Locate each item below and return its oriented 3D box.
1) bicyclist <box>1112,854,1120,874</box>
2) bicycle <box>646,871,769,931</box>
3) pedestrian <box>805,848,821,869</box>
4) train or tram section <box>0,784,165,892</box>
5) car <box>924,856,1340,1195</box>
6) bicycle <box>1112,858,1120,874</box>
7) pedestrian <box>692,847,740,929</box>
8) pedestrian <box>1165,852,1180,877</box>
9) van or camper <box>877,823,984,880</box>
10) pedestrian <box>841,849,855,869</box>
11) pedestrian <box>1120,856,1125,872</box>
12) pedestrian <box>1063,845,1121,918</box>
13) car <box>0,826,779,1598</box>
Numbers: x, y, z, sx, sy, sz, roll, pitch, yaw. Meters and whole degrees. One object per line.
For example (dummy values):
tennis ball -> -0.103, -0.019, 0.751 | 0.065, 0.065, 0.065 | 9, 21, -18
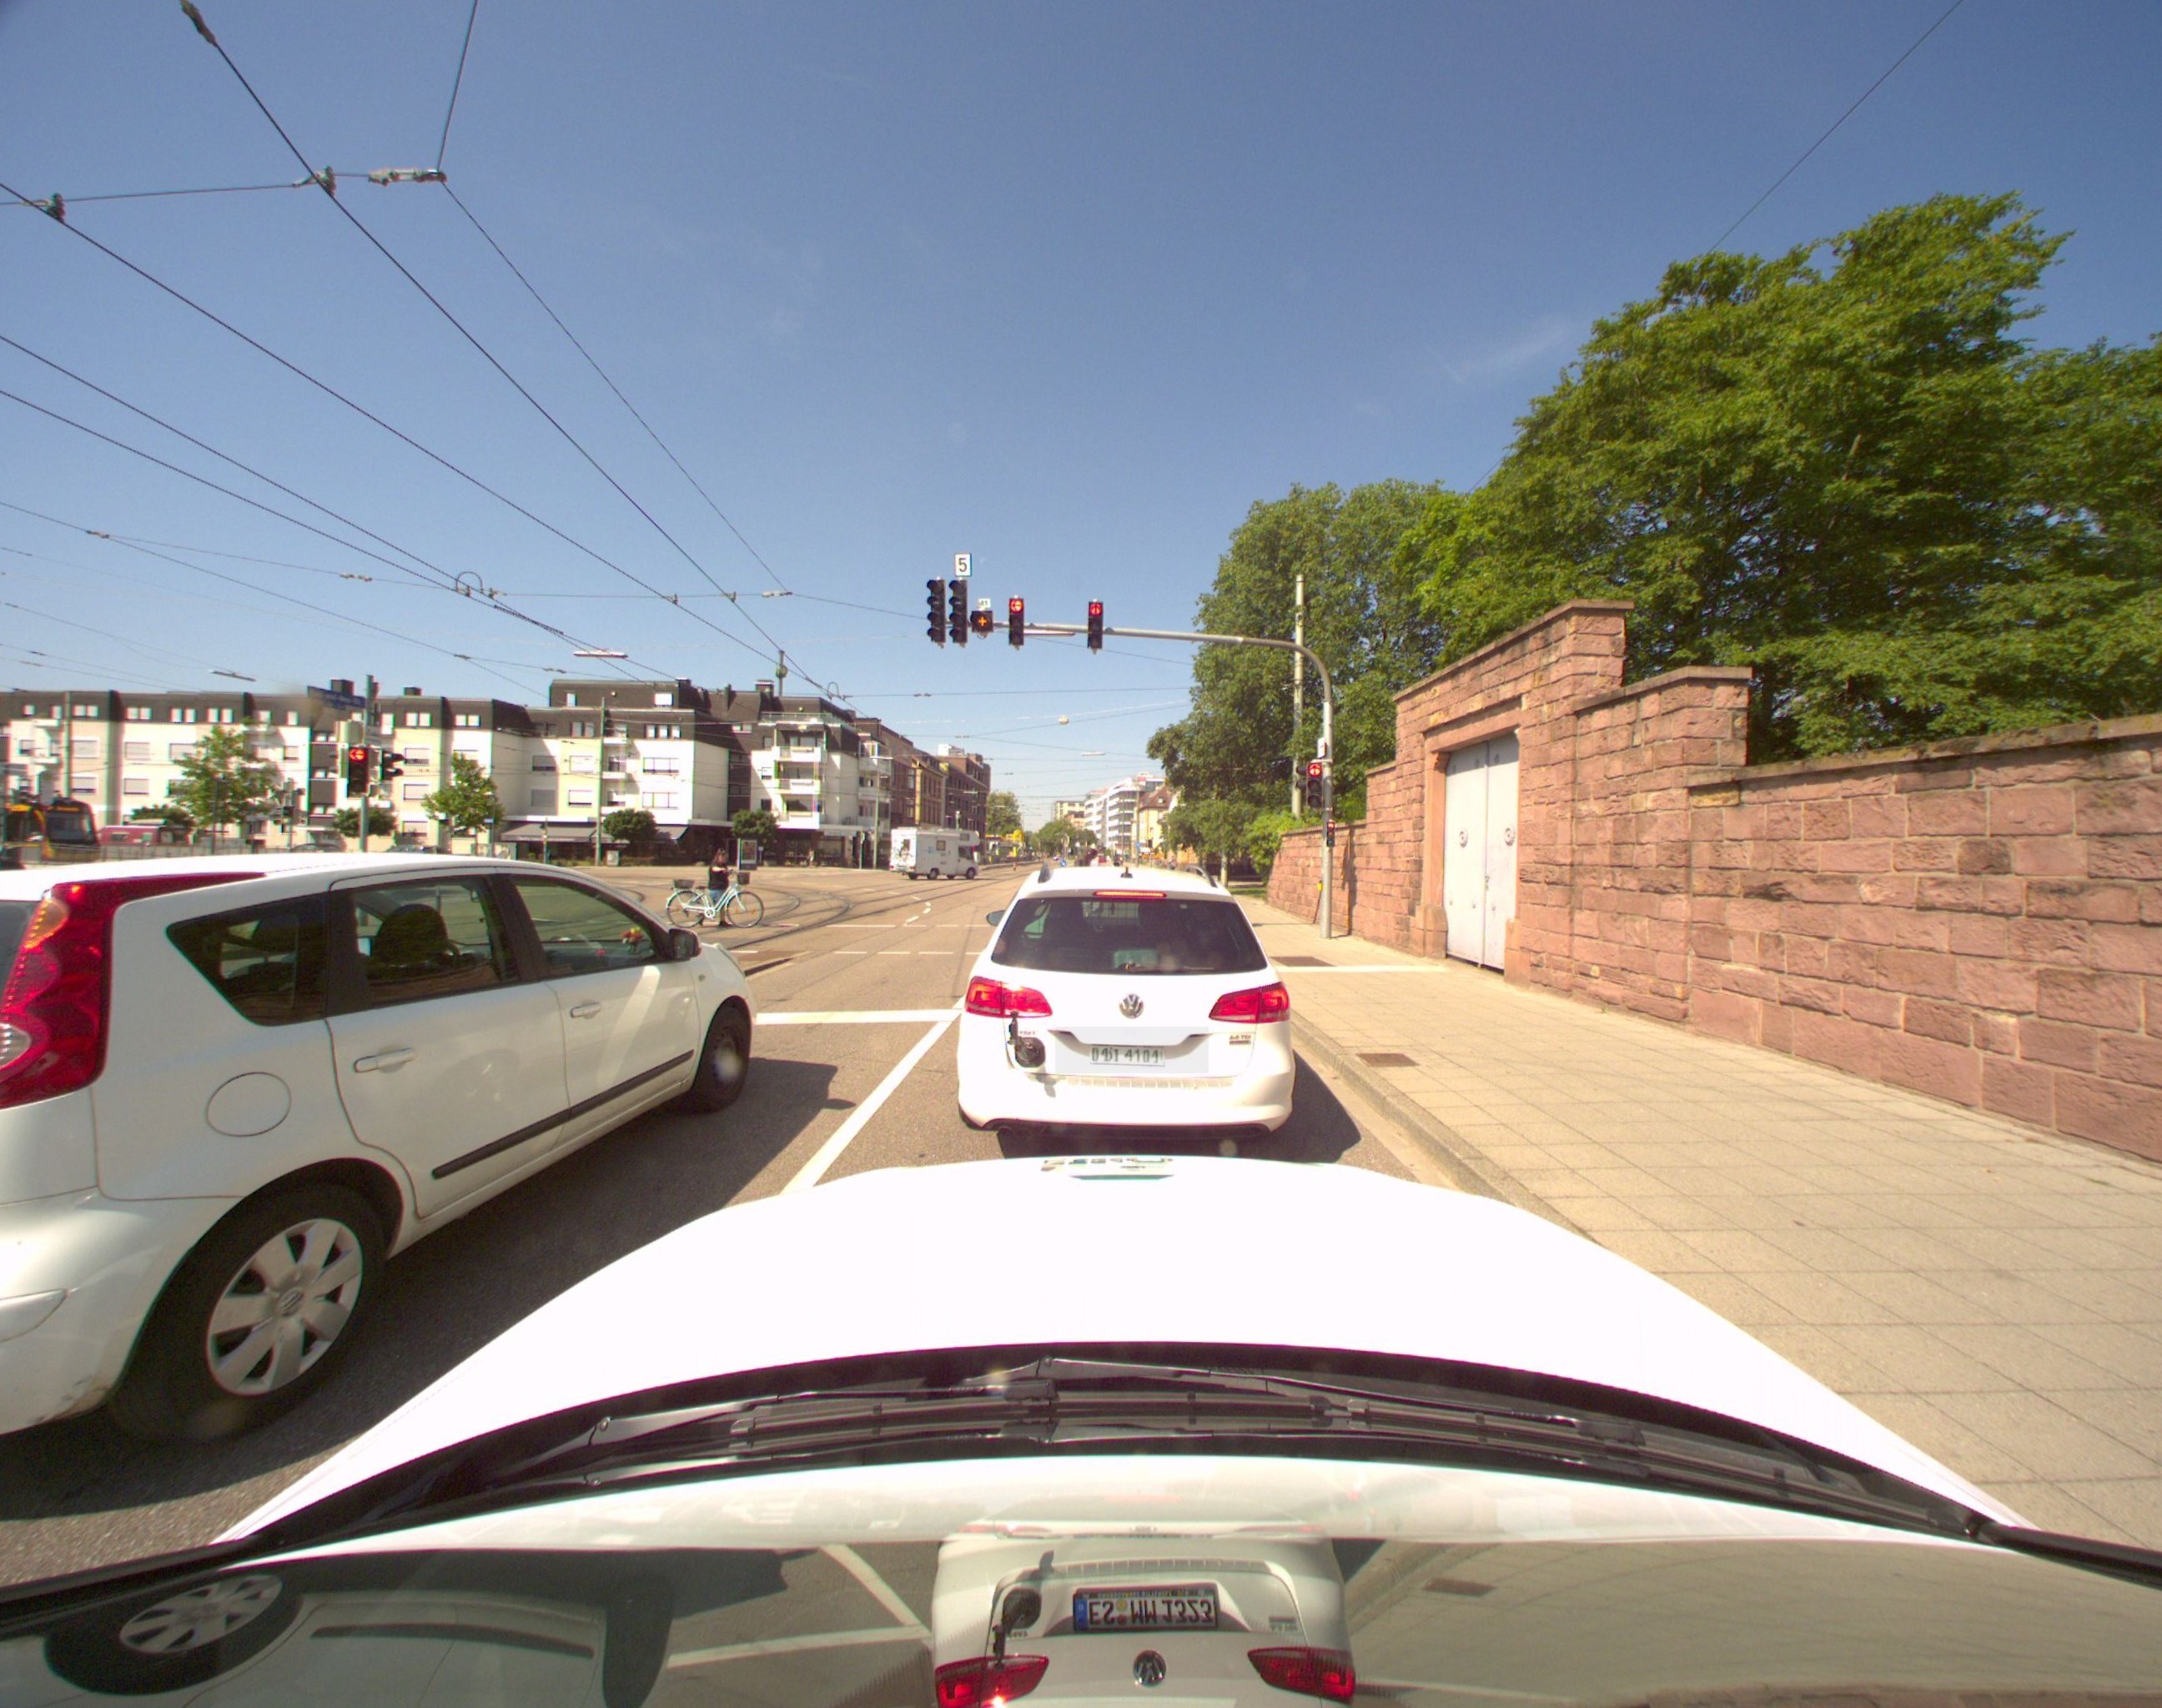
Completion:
bicyclist -> 2.784, 0.806, 64.855 | 0.558, 1.613, 0.639 | -1, -1, 3
bicycle -> -7.150, 0.896, 15.687 | 2.021, 1.090, 0.707 | 1, 0, -13
pedestrian -> -22.474, 0.368, 68.216 | 0.853, 1.743, 0.981 | -2, -2, 39
train or tram section -> -57.522, -0.631, 41.522 | 16.149, 5.150, 4.735 | -1, -1, 0
car -> 0.277, 0.749, 5.553 | 1.801, 1.448, 4.001 | 1, 0, 1
bicycle -> 2.789, 0.966, 64.862 | 0.556, 1.297, 2.251 | -1, -1, 3
pedestrian -> -7.275, 0.661, 16.259 | 0.746, 1.571, 0.672 | -1, 0, -13
pedestrian -> 6.569, 0.779, 58.648 | 0.861, 1.743, 0.972 | -1, -1, -8
van or camper -> -8.670, -0.111, 47.411 | 2.542, 3.093, 5.738 | -2, -2, 41
pedestrian -> -20.498, 0.423, 71.731 | 0.978, 1.743, 0.856 | 0, -2, -30
pedestrian -> 6.207, 1.431, 120.540 | 0.687, 2.325, 1.233 | -1, -1, 3
pedestrian -> 0.259, 0.627, 19.108 | 0.943, 1.651, 0.981 | -2, -2, 41
car -> -2.903, 0.713, 3.559 | 1.636, 1.566, 3.805 | -1, 1, 1
